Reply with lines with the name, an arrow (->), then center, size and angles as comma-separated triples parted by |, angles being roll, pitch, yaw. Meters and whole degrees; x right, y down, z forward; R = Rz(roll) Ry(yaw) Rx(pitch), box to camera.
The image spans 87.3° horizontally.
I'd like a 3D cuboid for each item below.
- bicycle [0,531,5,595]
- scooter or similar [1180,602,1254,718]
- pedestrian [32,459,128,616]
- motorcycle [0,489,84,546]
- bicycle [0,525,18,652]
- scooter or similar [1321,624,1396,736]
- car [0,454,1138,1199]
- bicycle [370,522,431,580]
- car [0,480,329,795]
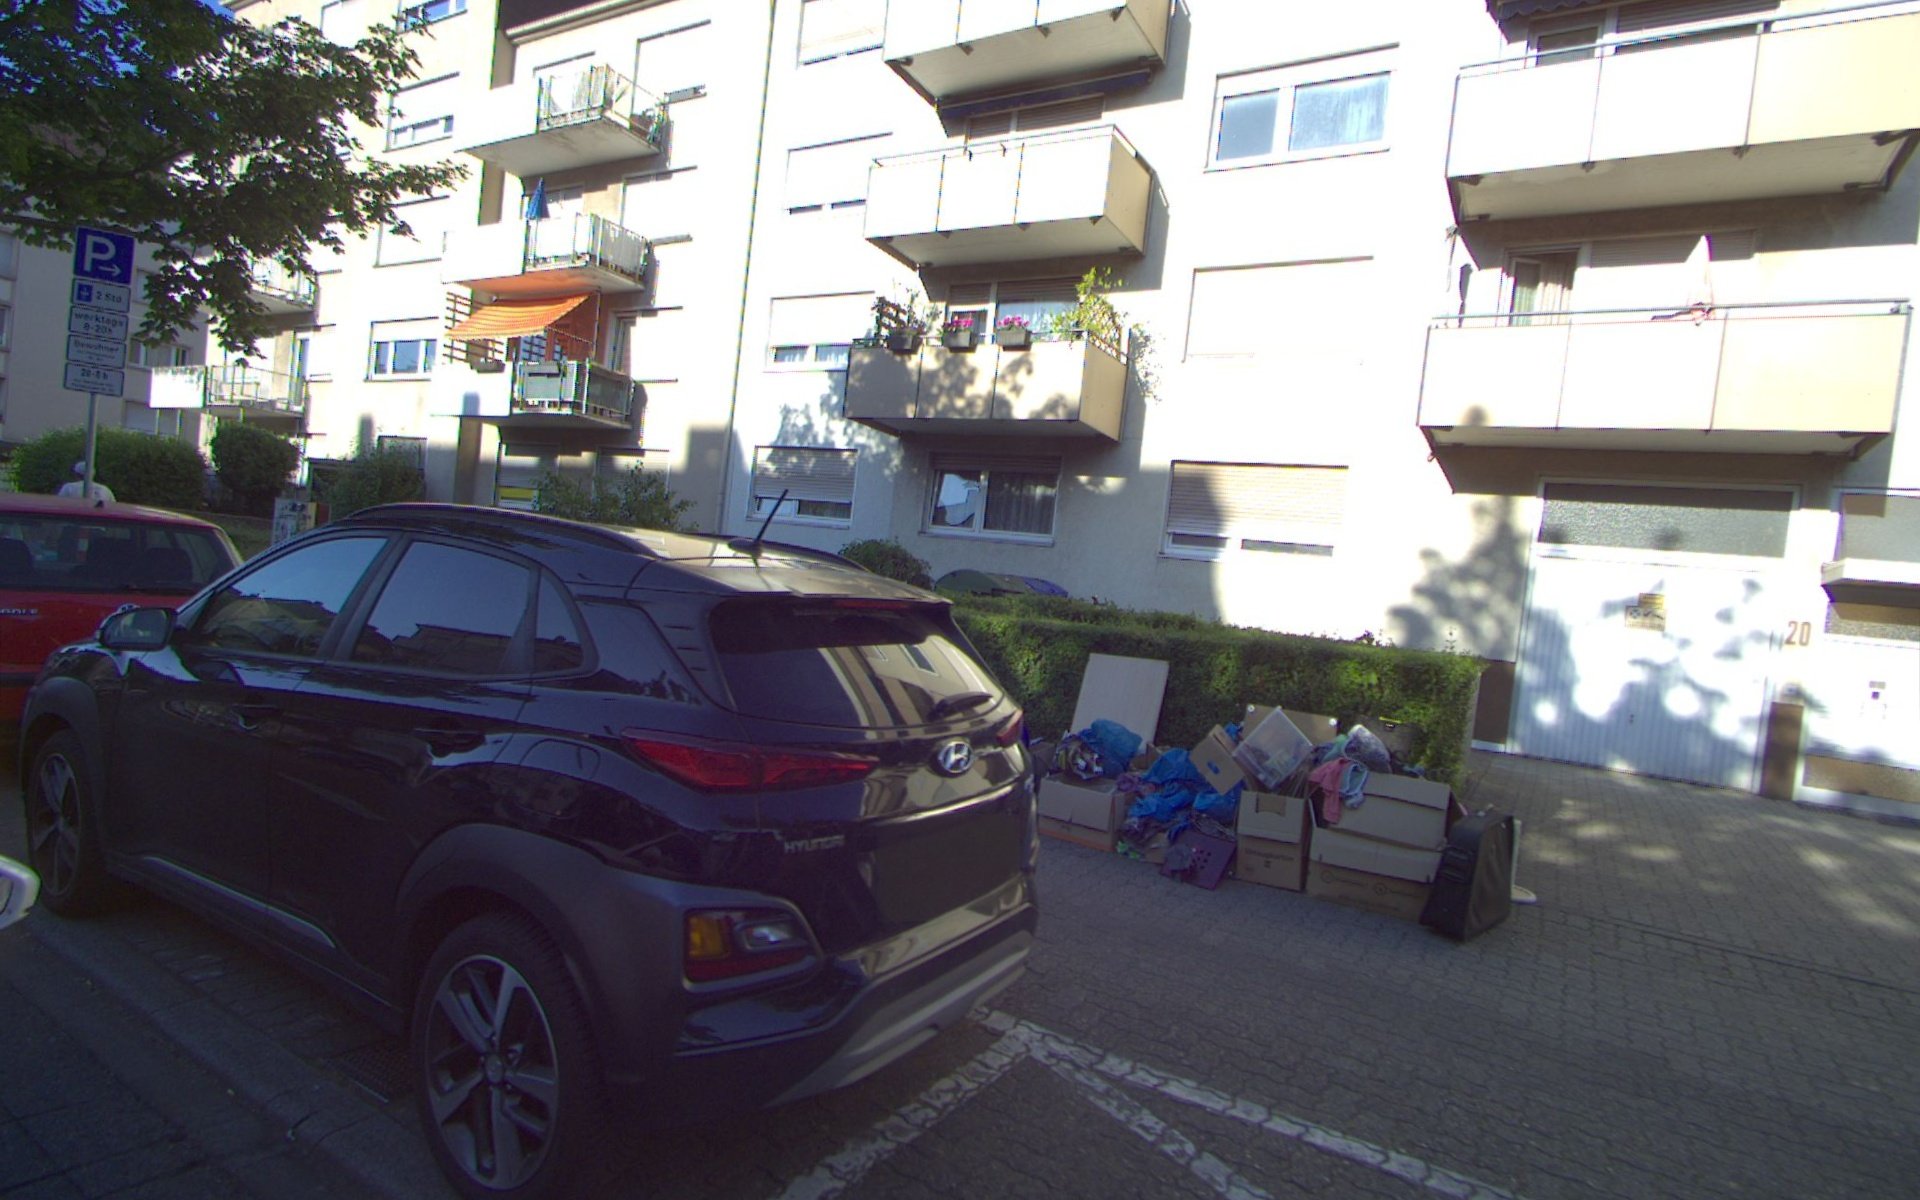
bicycle -> -8.638, -0.083, 7.885 | 0.385, 1.118, 1.571 | 7, 1, 32
scooter or similar -> 3.461, 0.801, 13.535 | 0.657, 1.460, 0.615 | 7, 2, 31
pedestrian -> -10.473, -0.736, 11.973 | 0.760, 1.772, 0.661 | 7, 3, 38
motorcycle -> -26.339, -2.341, 28.661 | 0.683, 1.379, 1.913 | 7, 1, 36
bicycle -> -9.086, -0.162, 8.461 | 0.493, 1.118, 1.571 | 7, 1, 32
scooter or similar -> 5.016, 0.993, 12.649 | 0.657, 1.289, 0.615 | 7, 2, 31
car -> -1.634, 0.466, 3.577 | 3.946, 1.603, 1.856 | 7, 2, 31
bicycle -> -13.030, -1.155, 23.408 | 1.767, 1.198, 0.356 | 7, 1, 32
car -> -5.800, 0.012, 6.222 | 3.949, 1.469, 1.703 | 7, 2, 34
